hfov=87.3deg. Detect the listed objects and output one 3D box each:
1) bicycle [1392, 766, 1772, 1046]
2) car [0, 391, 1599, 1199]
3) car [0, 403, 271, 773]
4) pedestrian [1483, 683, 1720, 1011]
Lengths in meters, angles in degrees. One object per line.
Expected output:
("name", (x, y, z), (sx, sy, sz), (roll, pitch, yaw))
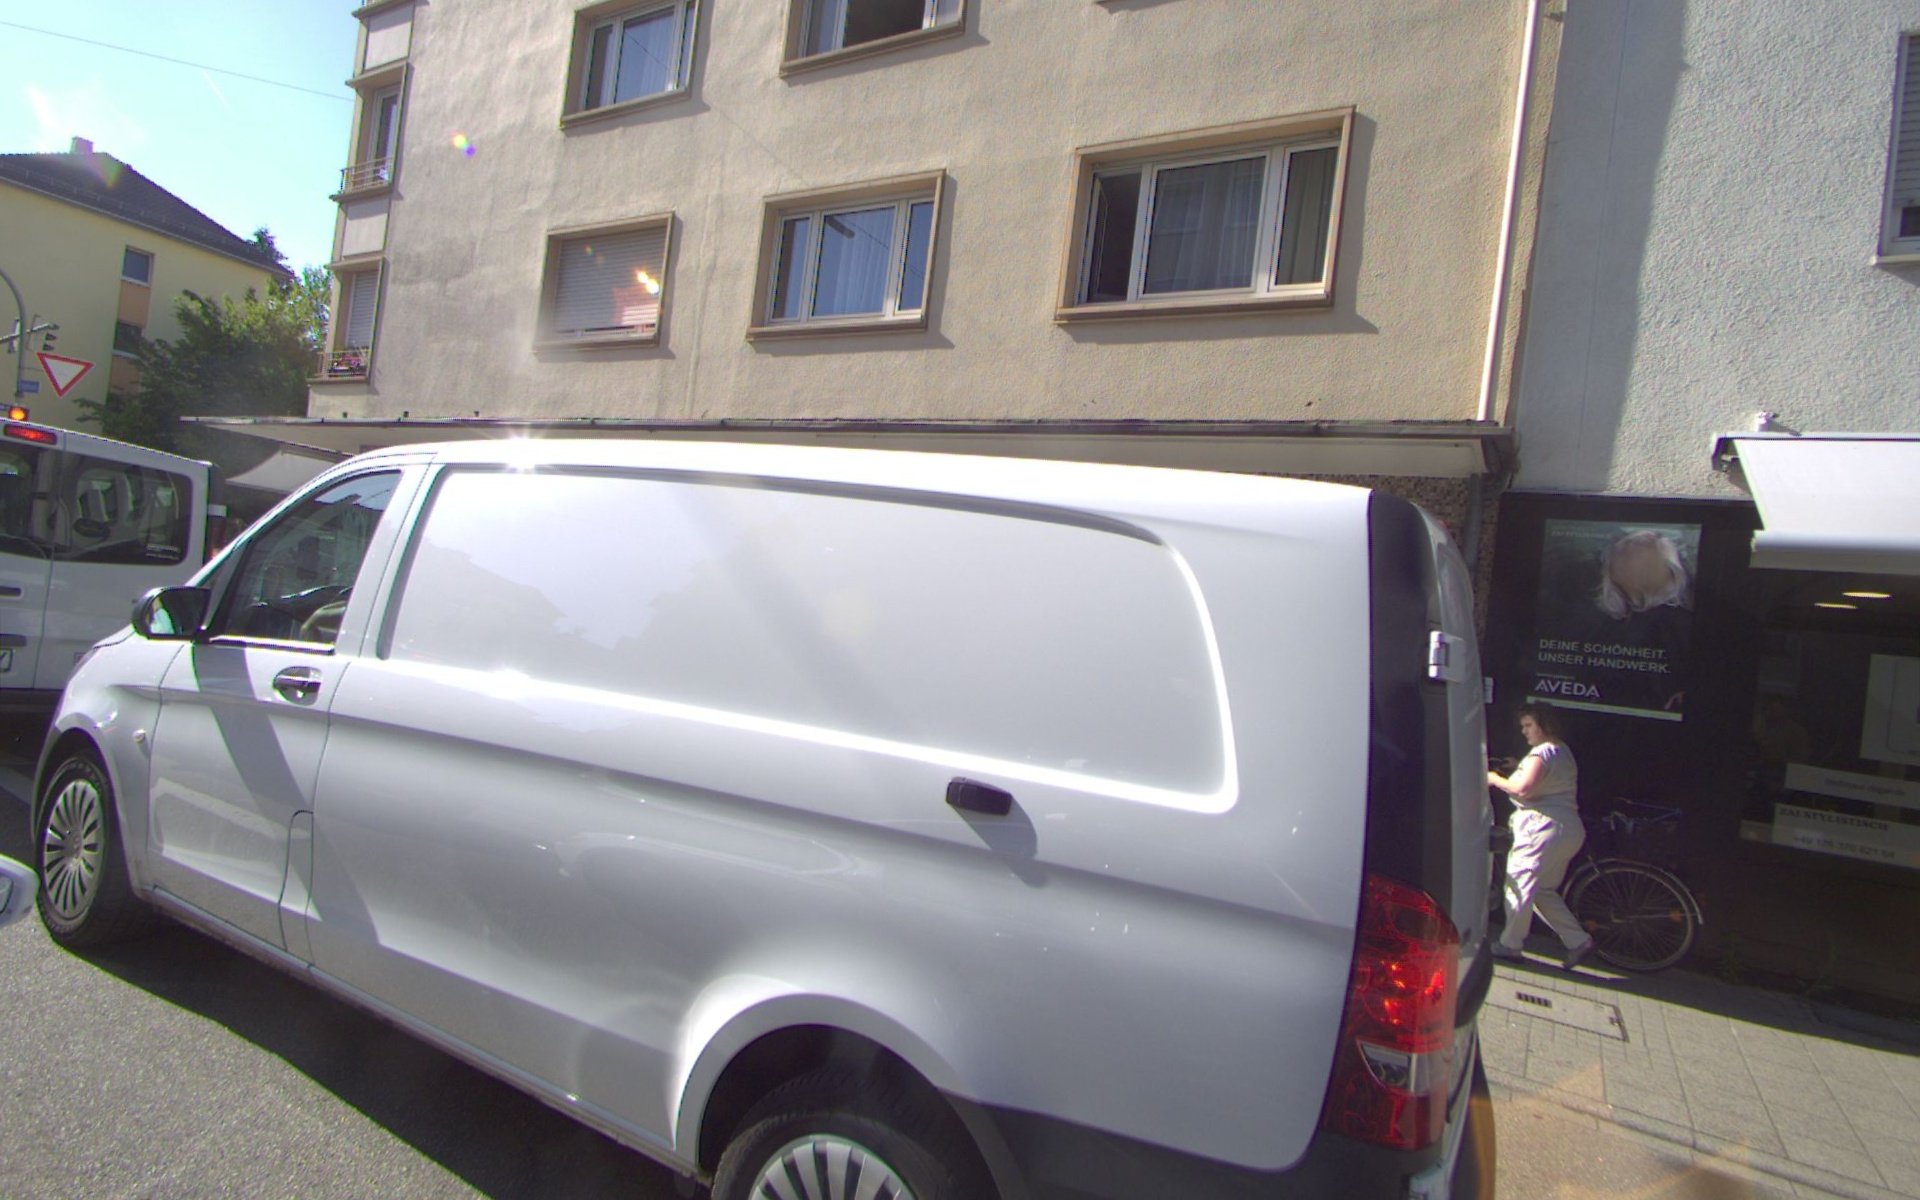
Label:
("bicycle", (3.620, 1.741, 6.006), (1.763, 1.148, 0.401), (7, 3, 32))
("car", (-0.982, 0.500, 3.313), (4.910, 1.891, 1.840), (7, -1, 29))
("car", (-7.144, -0.263, 6.943), (4.814, 2.002, 1.998), (7, -2, 32))
("pedestrian", (3.663, 1.337, 5.815), (0.931, 1.559, 0.823), (7, 3, 31))
